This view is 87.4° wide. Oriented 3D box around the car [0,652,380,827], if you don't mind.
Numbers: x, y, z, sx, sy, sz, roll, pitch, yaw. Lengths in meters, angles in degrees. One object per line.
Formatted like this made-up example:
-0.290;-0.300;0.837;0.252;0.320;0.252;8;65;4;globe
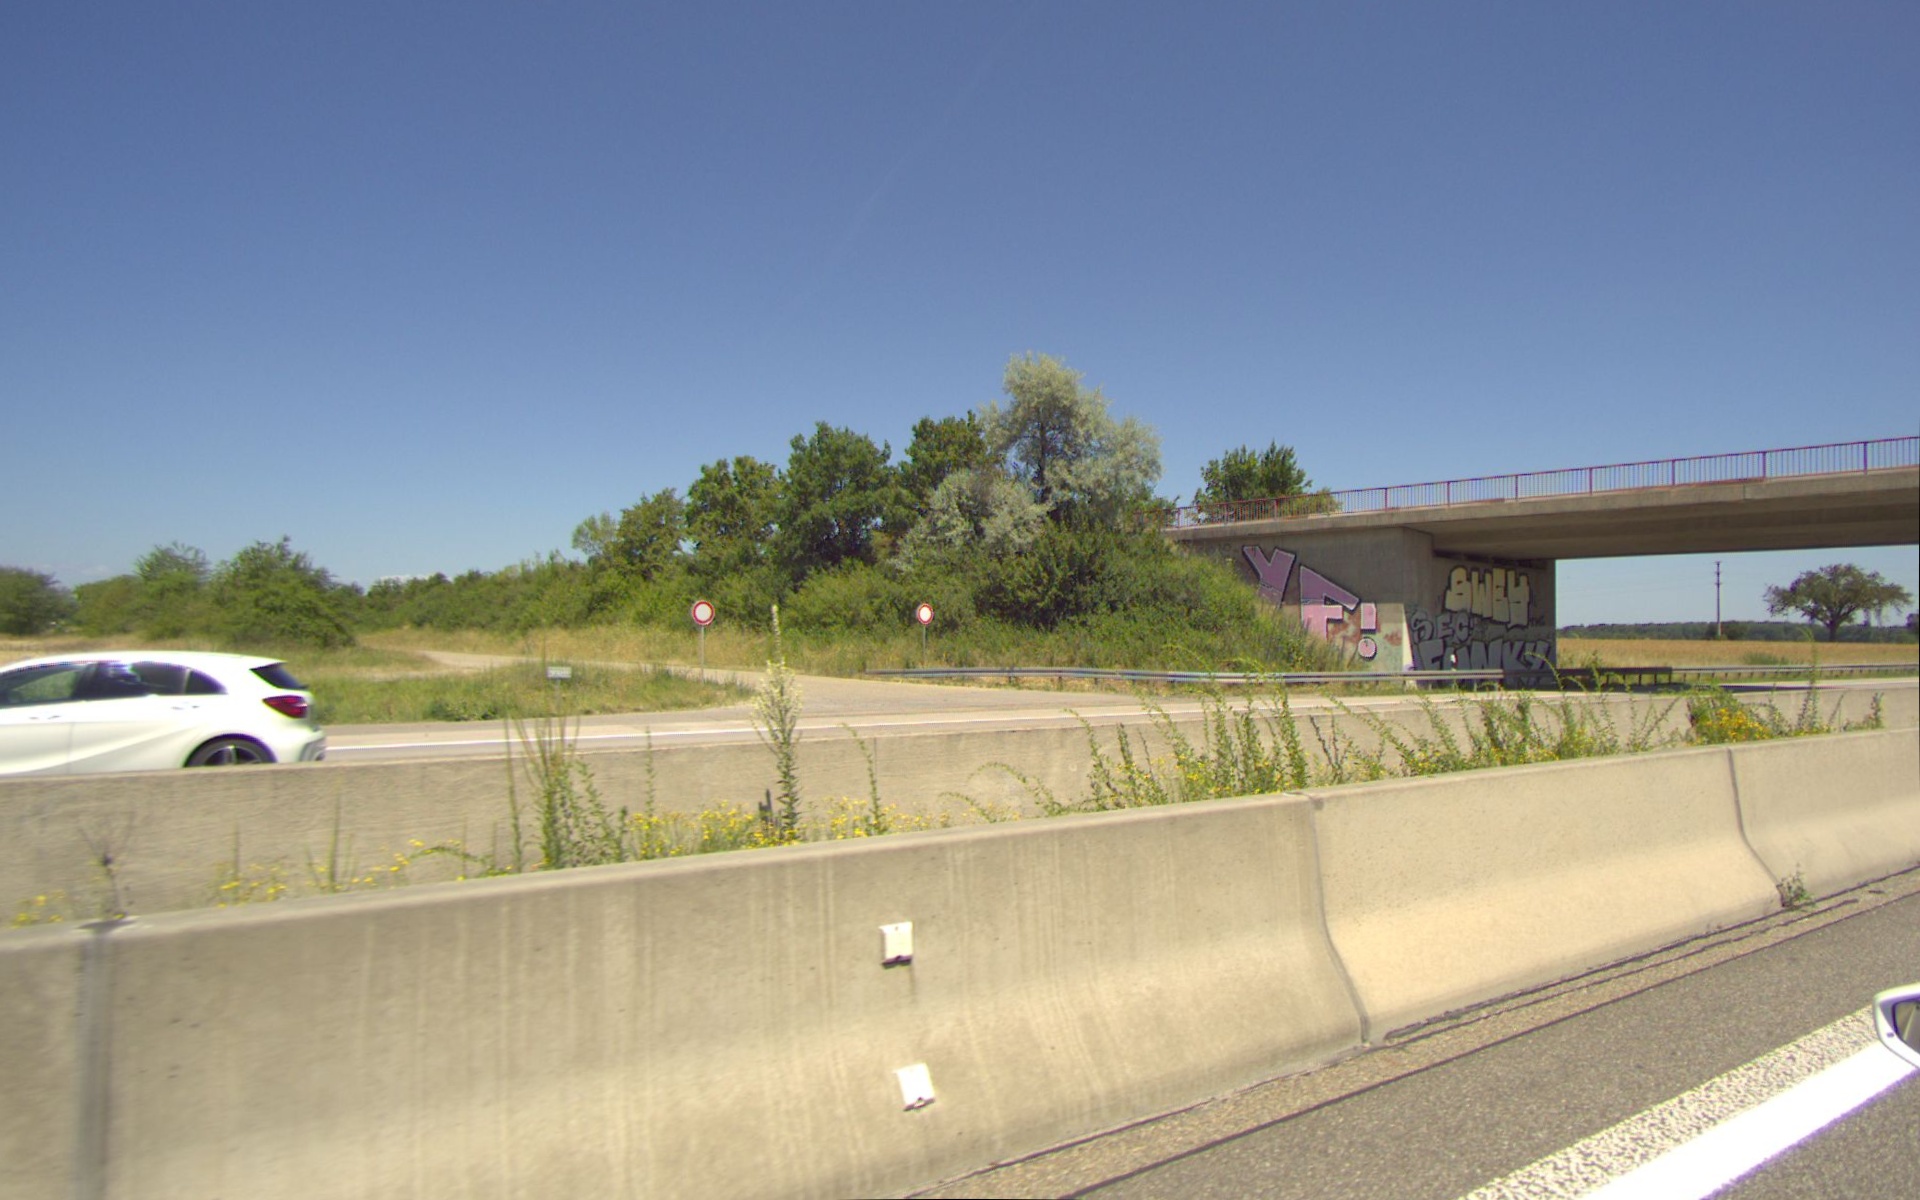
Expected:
-8.053;1.207;9.287;4.618;1.428;1.805;2;-3;-31;car
